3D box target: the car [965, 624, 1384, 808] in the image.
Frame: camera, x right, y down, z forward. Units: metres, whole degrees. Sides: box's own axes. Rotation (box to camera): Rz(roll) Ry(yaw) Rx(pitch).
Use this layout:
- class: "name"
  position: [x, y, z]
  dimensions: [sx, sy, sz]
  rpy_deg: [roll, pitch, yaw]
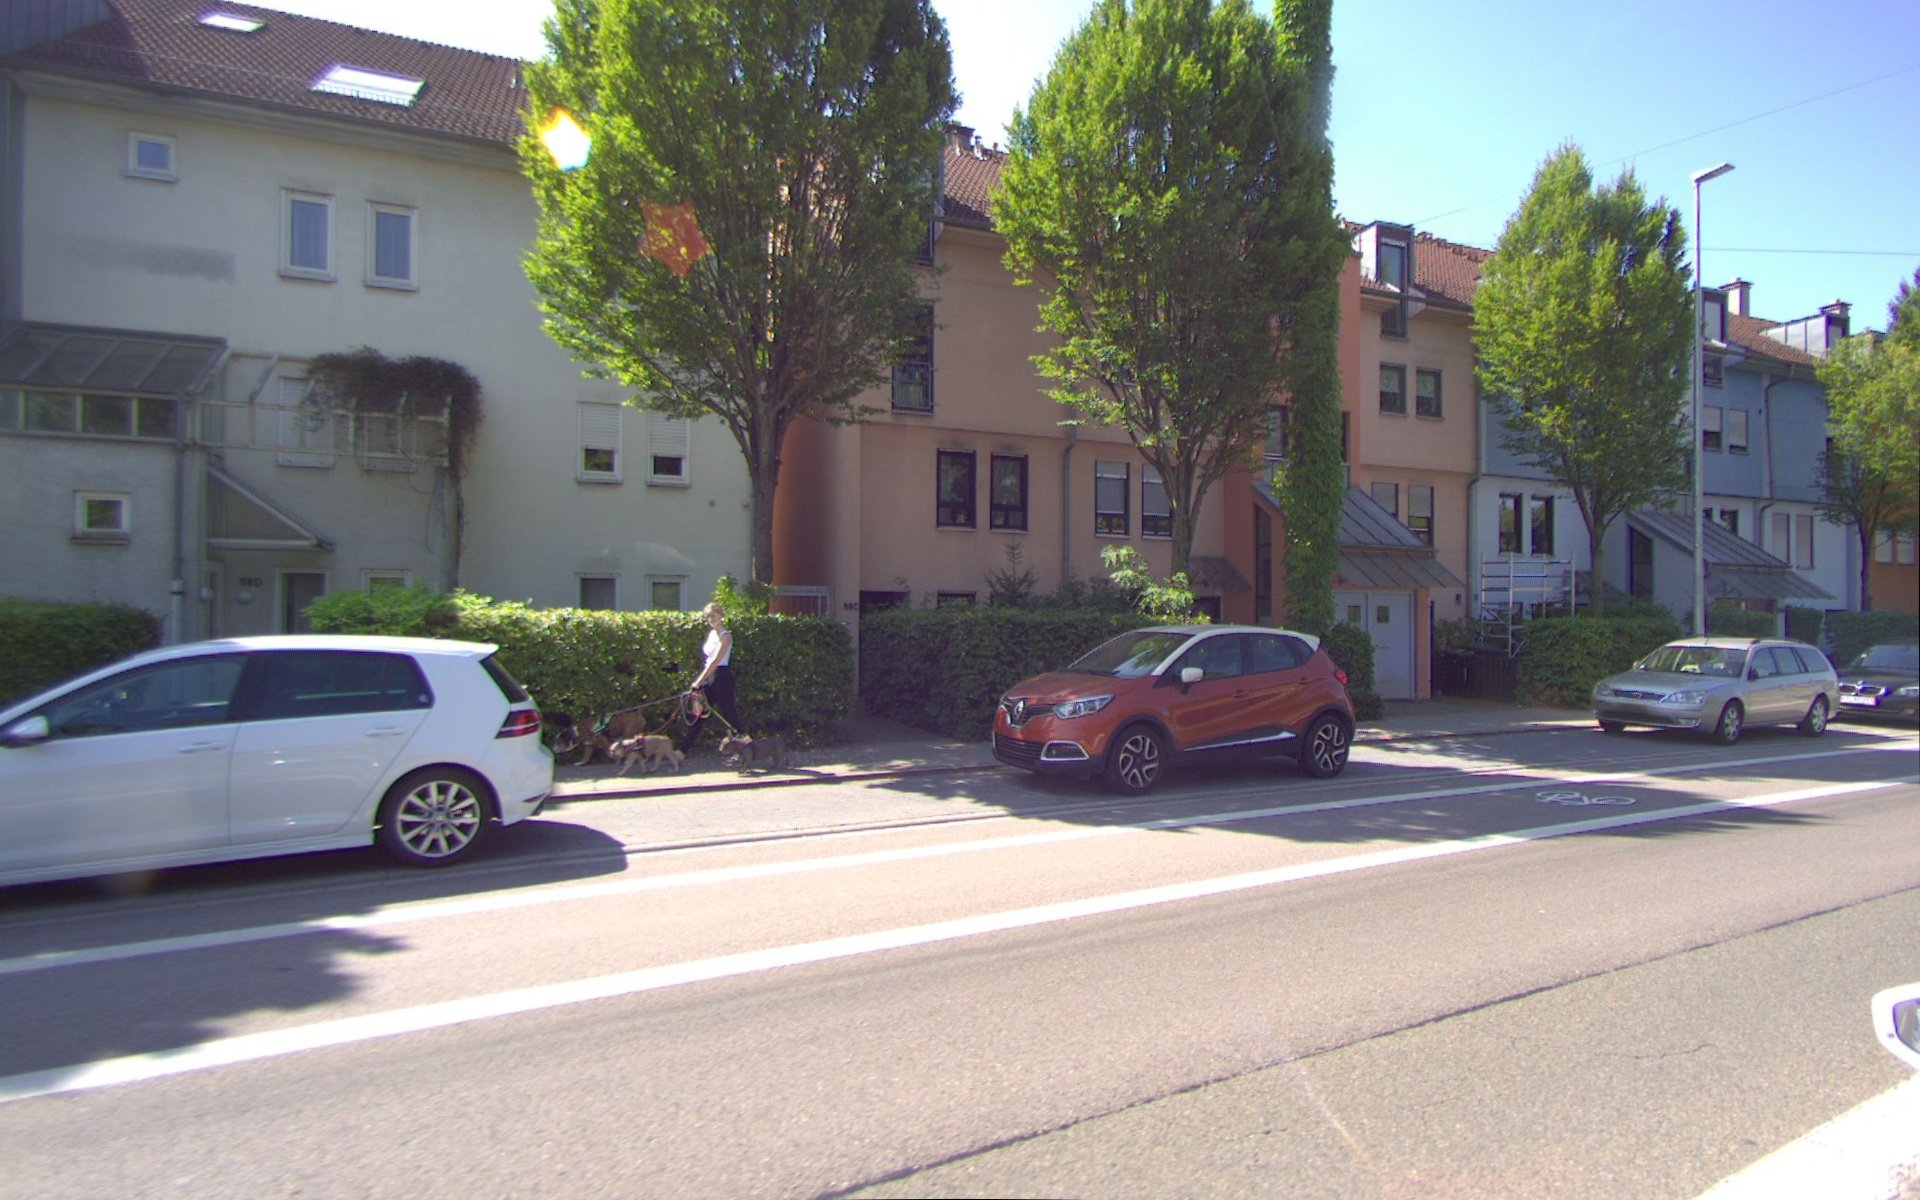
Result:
- class: "car"
  position: [2.322, 1.062, 10.592]
  dimensions: [4.266, 1.572, 1.723]
  rpy_deg: [1, 0, -30]

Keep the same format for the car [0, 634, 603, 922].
- class: "car"
  position: [-4.677, 0.974, 6.482]
  dimensions: [4.231, 1.448, 1.749]
  rpy_deg: [1, 0, -30]

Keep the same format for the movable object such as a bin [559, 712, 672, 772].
- class: "movable object such as a bin"
  position: [-3.545, 1.449, 10.358]
  dimensions: [1.063, 0.523, 0.324]
  rpy_deg: [1, -2, -31]

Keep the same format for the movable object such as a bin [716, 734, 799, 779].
- class: "movable object such as a bin"
  position: [-2.004, 1.541, 9.937]
  dimensions: [0.747, 0.359, 0.324]
  rpy_deg: [1, -2, -30]

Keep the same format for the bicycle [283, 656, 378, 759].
- class: "bicycle"
  position: [-7.214, 1.186, 11.595]
  dimensions: [0.541, 1.024, 2.009]
  rpy_deg: [1, -1, -21]

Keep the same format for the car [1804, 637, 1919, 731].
- class: "car"
  position: [17.679, 1.461, 18.438]
  dimensions: [4.655, 1.494, 1.716]
  rpy_deg: [1, 0, -28]

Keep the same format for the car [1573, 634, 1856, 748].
- class: "car"
  position: [11.875, 1.334, 15.730]
  dimensions: [4.799, 1.503, 1.772]
  rpy_deg: [2, 0, -29]

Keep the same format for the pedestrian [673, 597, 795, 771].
- class: "pedestrian"
  position: [-2.382, 0.846, 10.561]
  dimensions: [1.043, 1.713, 0.871]
  rpy_deg: [1, -1, -30]

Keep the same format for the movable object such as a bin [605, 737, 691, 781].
- class: "movable object such as a bin"
  position: [-3.032, 1.538, 9.778]
  dimensions: [0.747, 0.343, 0.324]
  rpy_deg: [1, -2, -30]
